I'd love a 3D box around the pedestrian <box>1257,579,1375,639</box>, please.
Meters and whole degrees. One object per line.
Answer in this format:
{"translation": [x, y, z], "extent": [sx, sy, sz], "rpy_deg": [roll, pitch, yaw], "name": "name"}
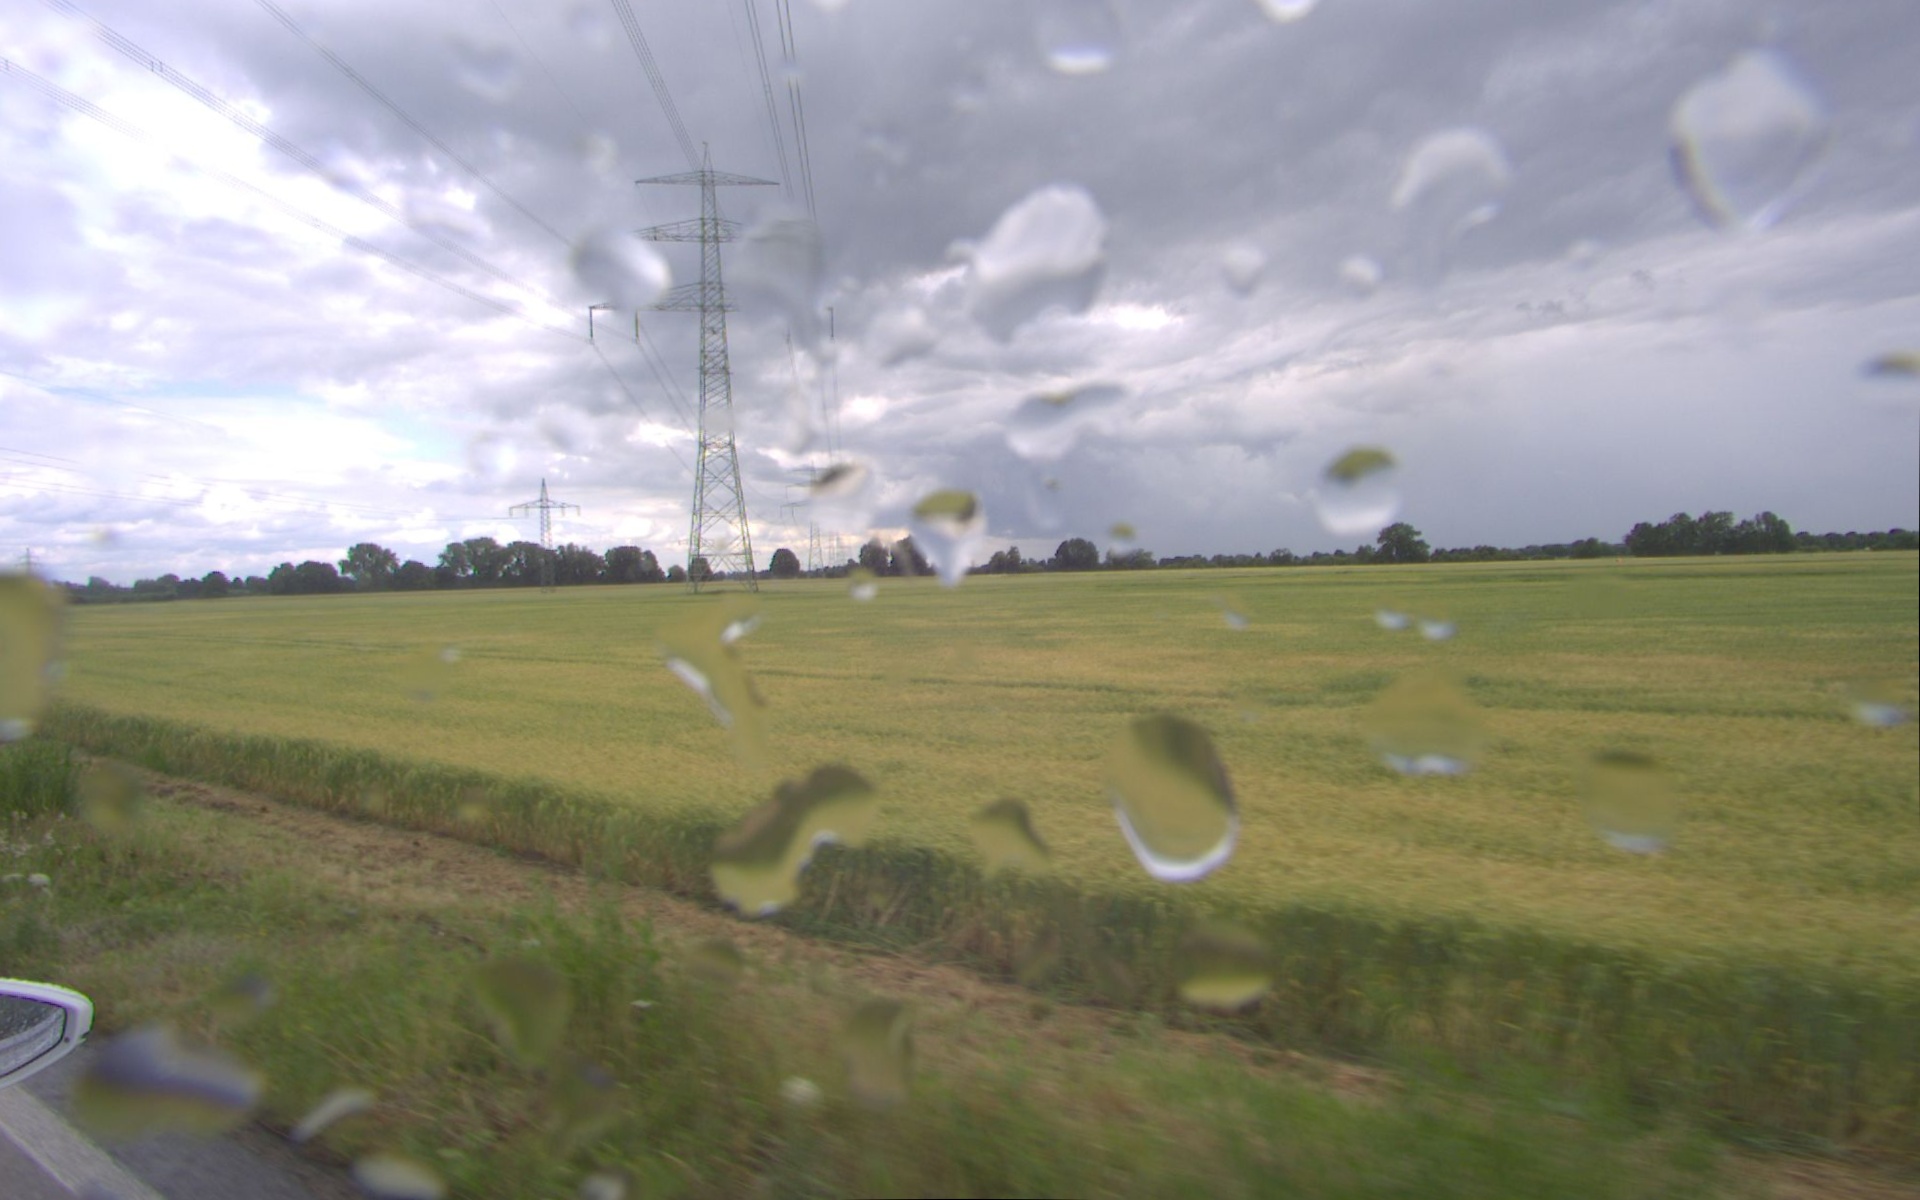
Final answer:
{"translation": [13.118, 0.380, 36.860], "extent": [3.934, 2.039, 1.995], "rpy_deg": [-2, -2, 24], "name": "pedestrian"}
